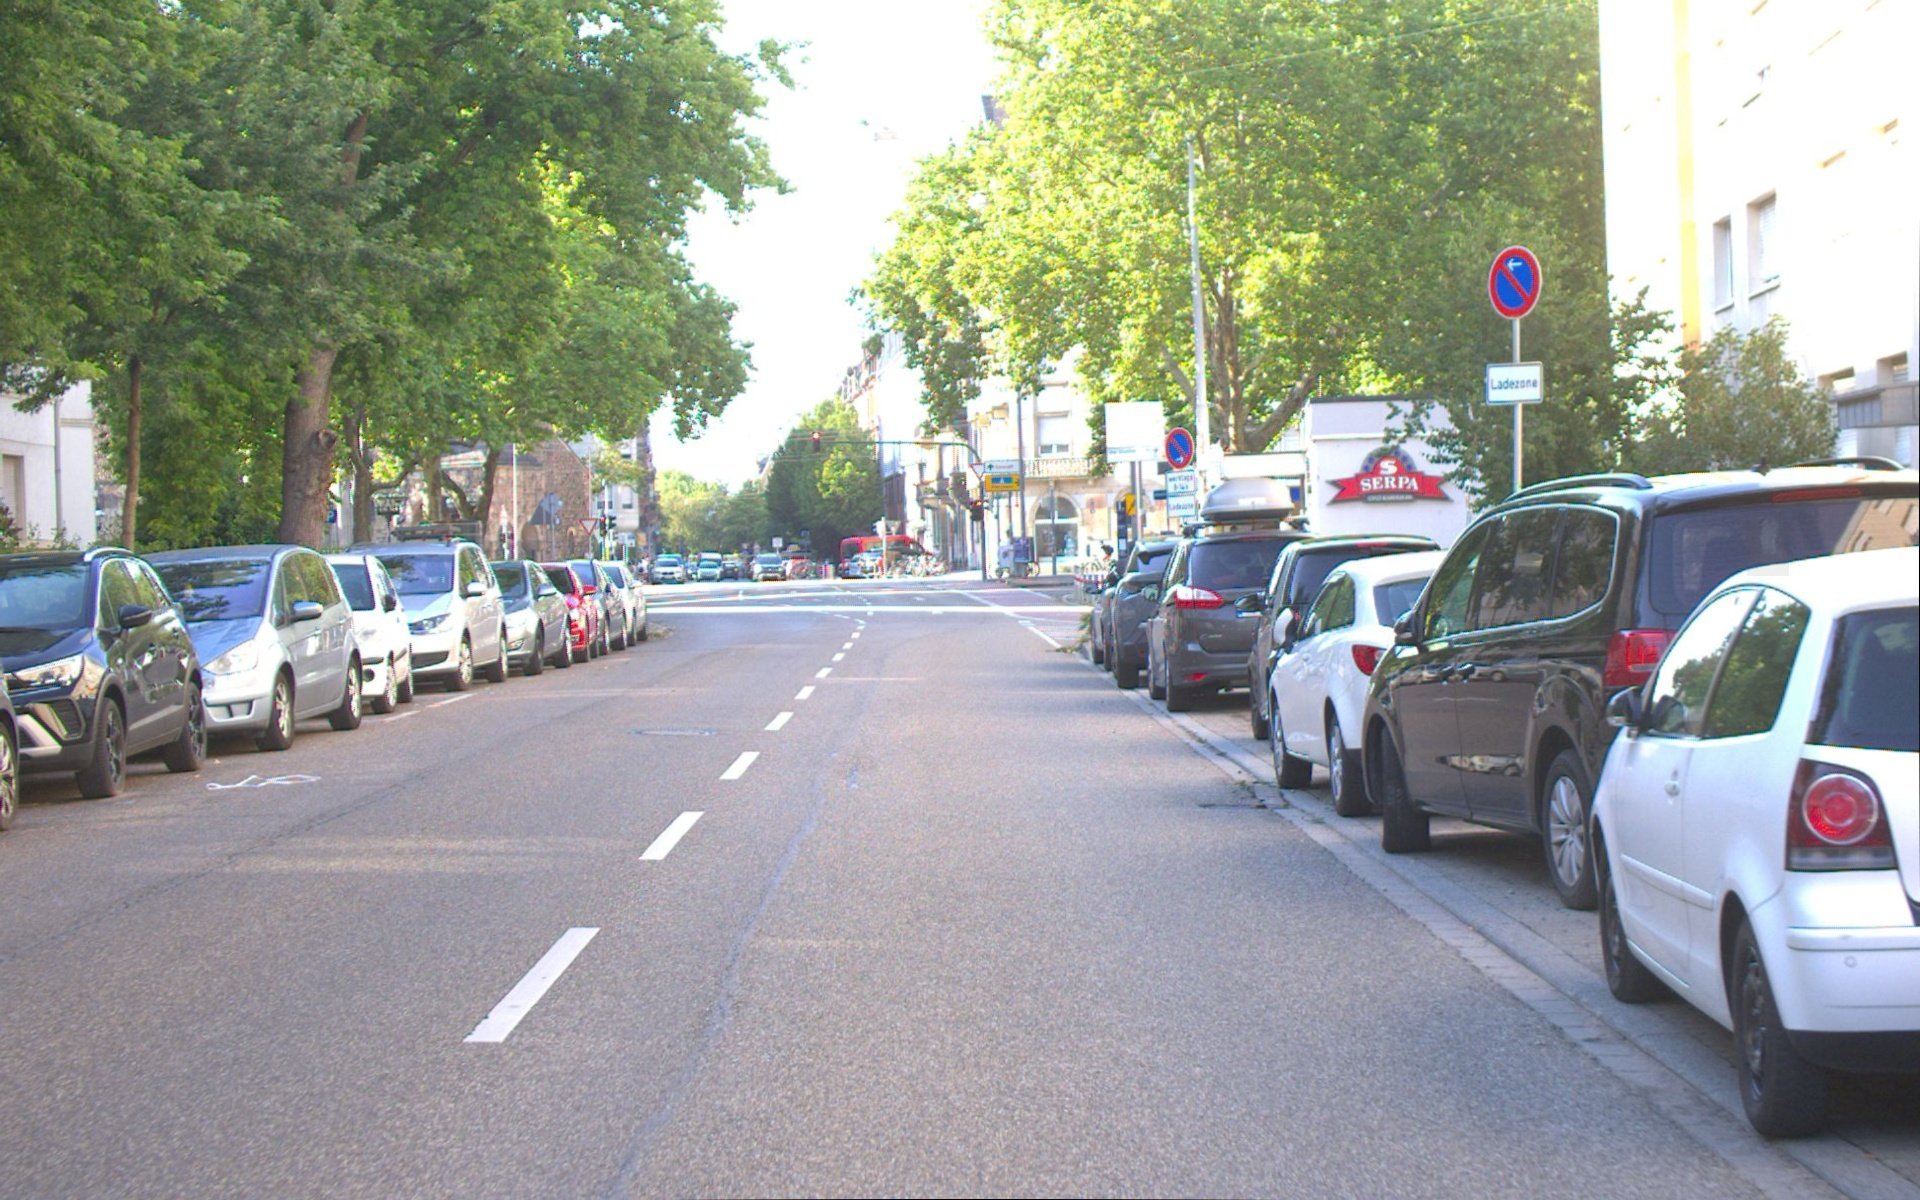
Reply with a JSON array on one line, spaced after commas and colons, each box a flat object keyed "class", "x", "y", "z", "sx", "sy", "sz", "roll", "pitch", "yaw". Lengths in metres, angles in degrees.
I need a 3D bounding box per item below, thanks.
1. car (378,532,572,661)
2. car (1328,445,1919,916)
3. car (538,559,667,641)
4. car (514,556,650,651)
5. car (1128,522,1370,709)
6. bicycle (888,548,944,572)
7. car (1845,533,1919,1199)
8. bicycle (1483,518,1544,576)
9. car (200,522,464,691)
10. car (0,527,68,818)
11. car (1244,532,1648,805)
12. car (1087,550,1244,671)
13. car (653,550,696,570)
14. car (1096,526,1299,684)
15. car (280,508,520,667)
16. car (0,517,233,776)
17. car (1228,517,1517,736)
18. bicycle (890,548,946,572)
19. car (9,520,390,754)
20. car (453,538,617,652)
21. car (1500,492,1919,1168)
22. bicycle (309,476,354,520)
[{"class": "car", "x": -6.173, "y": -0.035, "z": 44.212, "sx": 1.870, "sy": 1.553, "sz": 4.497, "roll": 1, "pitch": 0, "yaw": 0}, {"class": "car", "x": 2.929, "y": 0.307, "z": 15.261, "sx": 2.024, "sy": 1.744, "sz": 4.767, "roll": -1, "pitch": 0, "yaw": 0}, {"class": "car", "x": -6.186, "y": 0.006, "z": 59.897, "sx": 1.769, "sy": 1.348, "sz": 4.711, "roll": 1, "pitch": 0, "yaw": 0}, {"class": "car", "x": -5.953, "y": 0.060, "z": 54.521, "sx": 1.703, "sy": 1.435, "sz": 4.129, "roll": 1, "pitch": 0, "yaw": 0}, {"class": "car", "x": 2.705, "y": 0.105, "z": 33.055, "sx": 1.897, "sy": 1.645, "sz": 4.343, "roll": -1, "pitch": 1, "yaw": -1}, {"class": "bicycle", "x": -2.284, "y": -2.069, "z": 178.218, "sx": 2.802, "sy": 1.199, "sz": 0.517, "roll": 1, "pitch": 0, "yaw": -10}, {"class": "car", "x": 2.856, "y": 0.699, "z": 5.352, "sx": 1.837, "sy": 1.766, "sz": 3.978, "roll": -3, "pitch": 0, "yaw": 0}, {"class": "bicycle", "x": 9.364, "y": -0.902, "z": 58.233, "sx": 0.636, "sy": 0.922, "sz": 2.230, "roll": 1, "pitch": 2, "yaw": 0}, {"class": "car", "x": -6.155, "y": 0.064, "z": 34.118, "sx": 1.870, "sy": 1.553, "sz": 4.101, "roll": 1, "pitch": 0, "yaw": 0}, {"class": "car", "x": -6.099, "y": 0.373, "z": 17.569, "sx": 1.957, "sy": 1.553, "sz": 4.346, "roll": 1, "pitch": 0, "yaw": 0}, {"class": "car", "x": 2.744, "y": 0.366, "z": 20.387, "sx": 1.679, "sy": 1.411, "sz": 4.724, "roll": 1, "pitch": 0, "yaw": 0}, {"class": "car", "x": 2.619, "y": 0.139, "z": 44.543, "sx": 1.740, "sy": 1.468, "sz": 4.000, "roll": 1, "pitch": 0, "yaw": 0}, {"class": "car", "x": -17.605, "y": -2.441, "z": 211.817, "sx": 1.595, "sy": 1.140, "sz": 3.381, "roll": 1, "pitch": 0, "yaw": 15}, {"class": "car", "x": 2.622, "y": 0.060, "z": 38.952, "sx": 1.927, "sy": 1.653, "sz": 4.677, "roll": 1, "pitch": 0, "yaw": 0}, {"class": "car", "x": -6.267, "y": -0.126, "z": 38.999, "sx": 1.916, "sy": 1.672, "sz": 4.974, "roll": 1, "pitch": 0, "yaw": 0}, {"class": "car", "x": -6.244, "y": 0.278, "z": 22.936, "sx": 1.870, "sy": 1.553, "sz": 4.365, "roll": 1, "pitch": 0, "yaw": 0}, {"class": "car", "x": 2.992, "y": 0.190, "z": 25.651, "sx": 1.605, "sy": 1.489, "sz": 4.042, "roll": -1, "pitch": 0, "yaw": -1}, {"class": "bicycle", "x": -2.171, "y": -2.058, "z": 176.654, "sx": 2.802, "sy": 1.199, "sz": 0.510, "roll": 1, "pitch": 0, "yaw": -7}, {"class": "car", "x": -5.999, "y": 0.223, "z": 27.746, "sx": 1.871, "sy": 1.553, "sz": 5.057, "roll": -5, "pitch": 1, "yaw": -1}, {"class": "car", "x": -6.058, "y": -0.060, "z": 49.364, "sx": 1.870, "sy": 1.553, "sz": 4.000, "roll": 1, "pitch": 0, "yaw": 0}, {"class": "car", "x": 2.802, "y": 0.473, "z": 9.788, "sx": 1.837, "sy": 1.496, "sz": 4.172, "roll": -4, "pitch": 0, "yaw": 1}, {"class": "bicycle", "x": -18.260, "y": -2.959, "z": 99.977, "sx": 0.718, "sy": 1.142, "sz": 3.292, "roll": 1, "pitch": 0, "yaw": -1}]
